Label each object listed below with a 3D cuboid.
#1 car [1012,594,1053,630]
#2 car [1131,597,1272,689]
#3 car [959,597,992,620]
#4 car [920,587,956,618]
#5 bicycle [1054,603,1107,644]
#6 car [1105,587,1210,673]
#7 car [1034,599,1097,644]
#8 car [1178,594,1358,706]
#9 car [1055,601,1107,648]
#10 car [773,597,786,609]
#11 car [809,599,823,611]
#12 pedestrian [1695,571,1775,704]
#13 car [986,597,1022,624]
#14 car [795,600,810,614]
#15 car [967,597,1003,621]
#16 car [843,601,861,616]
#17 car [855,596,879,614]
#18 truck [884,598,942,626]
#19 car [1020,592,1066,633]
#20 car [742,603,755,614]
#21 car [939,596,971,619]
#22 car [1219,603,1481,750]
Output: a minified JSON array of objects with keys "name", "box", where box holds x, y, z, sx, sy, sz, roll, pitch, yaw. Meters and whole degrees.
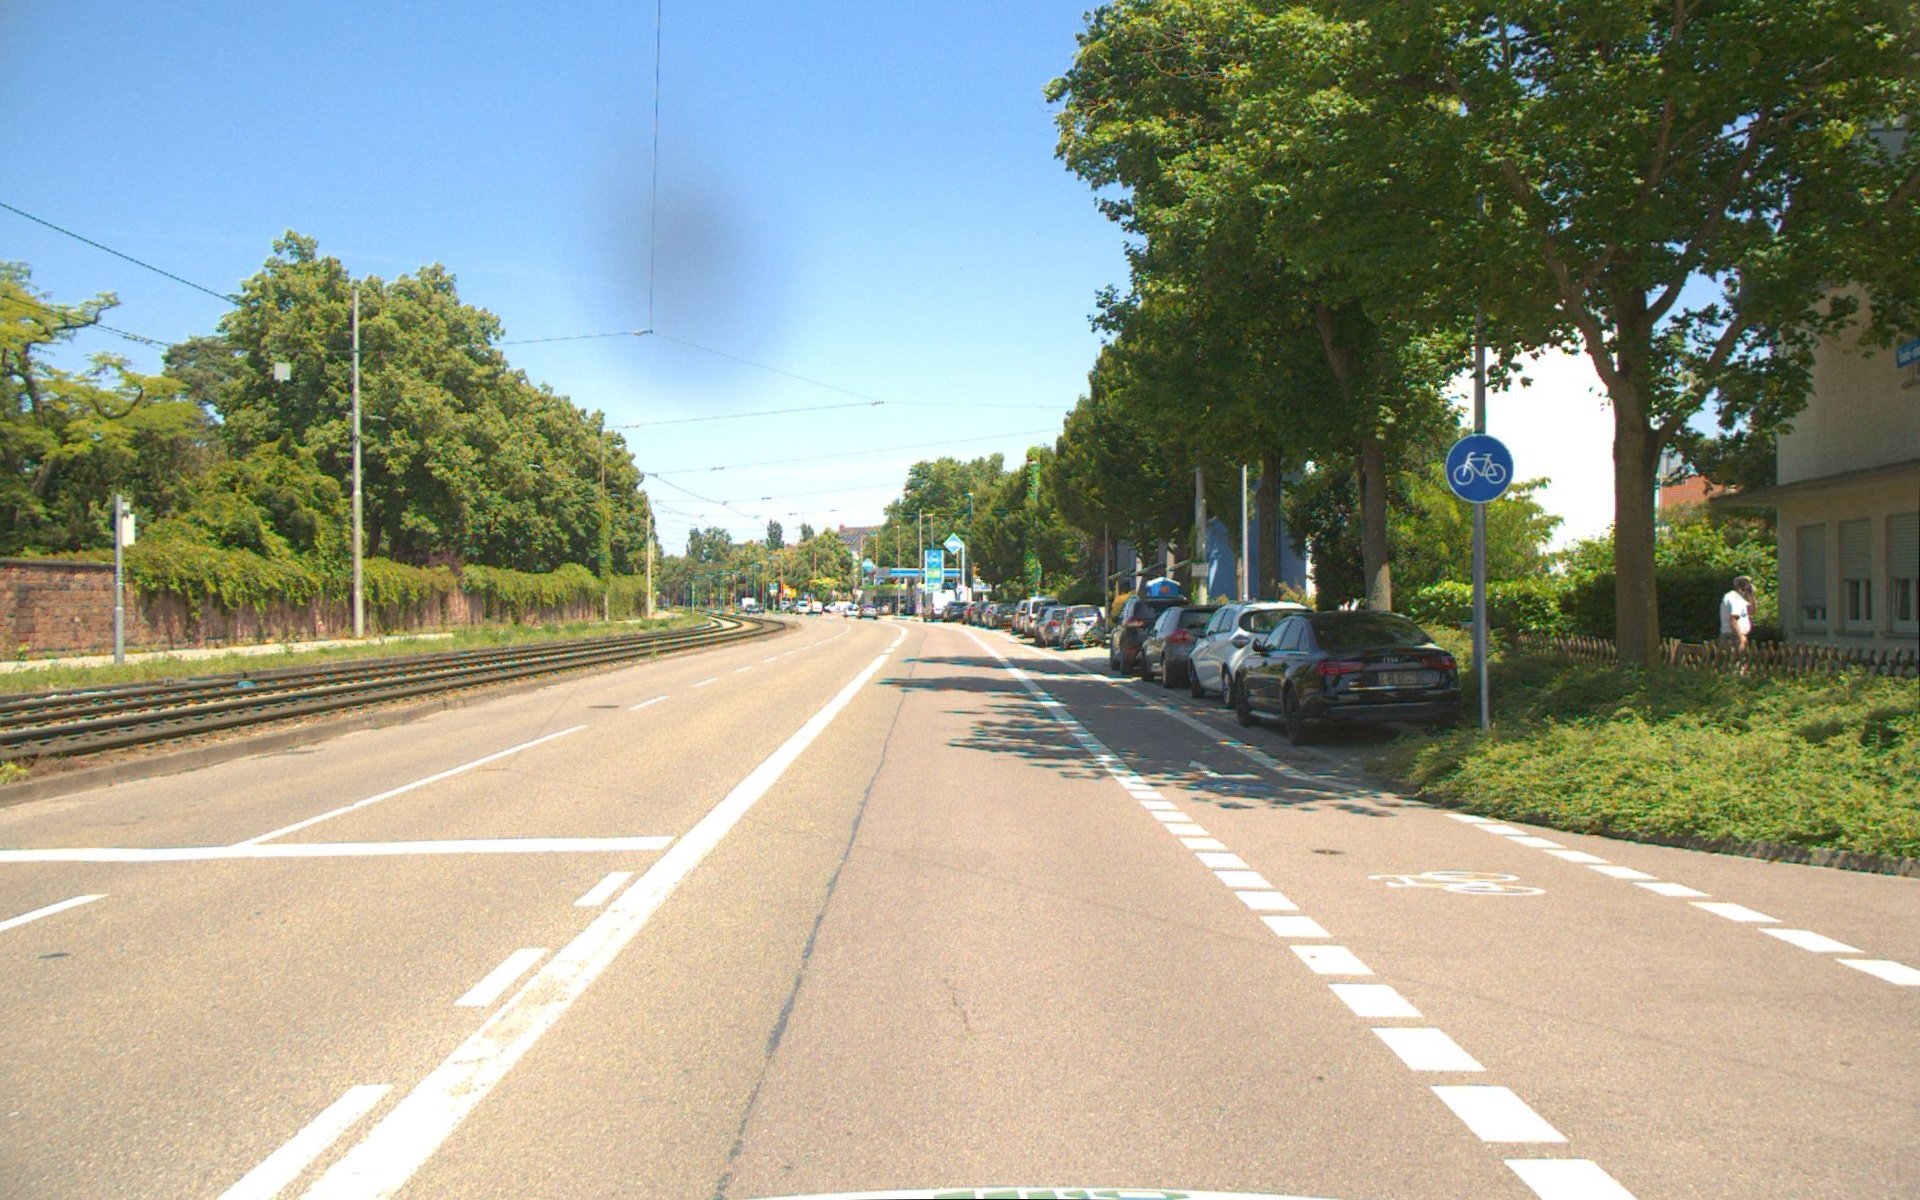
[{"name":"car","box":[3.728,0.594,85.513,1.803,1.723,4.778,-2,0,0]},{"name":"car","box":[4.551,0.760,31.801,1.804,1.556,4.351,-2,0,-3]},{"name":"car","box":[1.095,0.617,119.418,1.675,1.589,4.315,-2,0,-8]},{"name":"car","box":[-1.893,0.207,139.459,1.965,2.499,6.093,-2,0,-11]},{"name":"bicycle","box":[4.184,0.809,57.311,1.737,1.249,0.684,-5,-1,3]},{"name":"car","box":[4.392,0.621,37.435,1.803,1.736,4.626,-2,0,1]},{"name":"car","box":[4.031,0.799,64.191,1.804,1.556,4.962,-2,0,-3]},{"name":"car","box":[4.773,0.722,26.238,1.804,1.556,4.203,-2,0,-3]},{"name":"car","box":[4.313,0.849,59.352,1.488,1.556,3.816,-2,0,-1]},{"name":"car","box":[-26.656,0.400,244.407,1.723,1.659,4.316,-2,0,-8]},{"name":"car","box":[-21.576,0.736,247.852,1.724,1.659,4.314,-2,0,-10]},{"name":"pedestrian","box":[10.381,0.496,22.165,0.733,1.752,0.632,1,0,-7]},{"name":"car","box":[2.698,0.635,102.350,1.673,1.518,5.033,-2,0,-5]},{"name":"car","box":[-22.215,1.014,233.322,1.724,1.907,4.314,-2,0,-10]},{"name":"car","box":[1.689,0.617,113.513,1.676,1.589,4.313,-2,0,-10]},{"name":"car","box":[-12.765,1.005,194.713,1.723,1.659,4.316,-2,0,-8]},{"name":"car","box":[-9.024,0.452,159.971,1.724,1.659,4.314,-3,0,-10]},{"name":"truck","box":[-6.379,1.599,224.203,7.810,3.665,2.660,0,0,-4]},{"name":"car","box":[3.956,0.587,79.333,1.804,1.825,4.352,-2,0,-2]},{"name":"car","box":[-32.300,1.325,252.283,1.724,1.535,4.314,-2,0,-10]},{"name":"car","box":[-0.406,0.578,129.367,1.724,1.659,4.314,-2,0,-10]},{"name":"car","box":[4.550,0.822,20.075,1.804,1.461,4.822,-2,0,-3]}]
